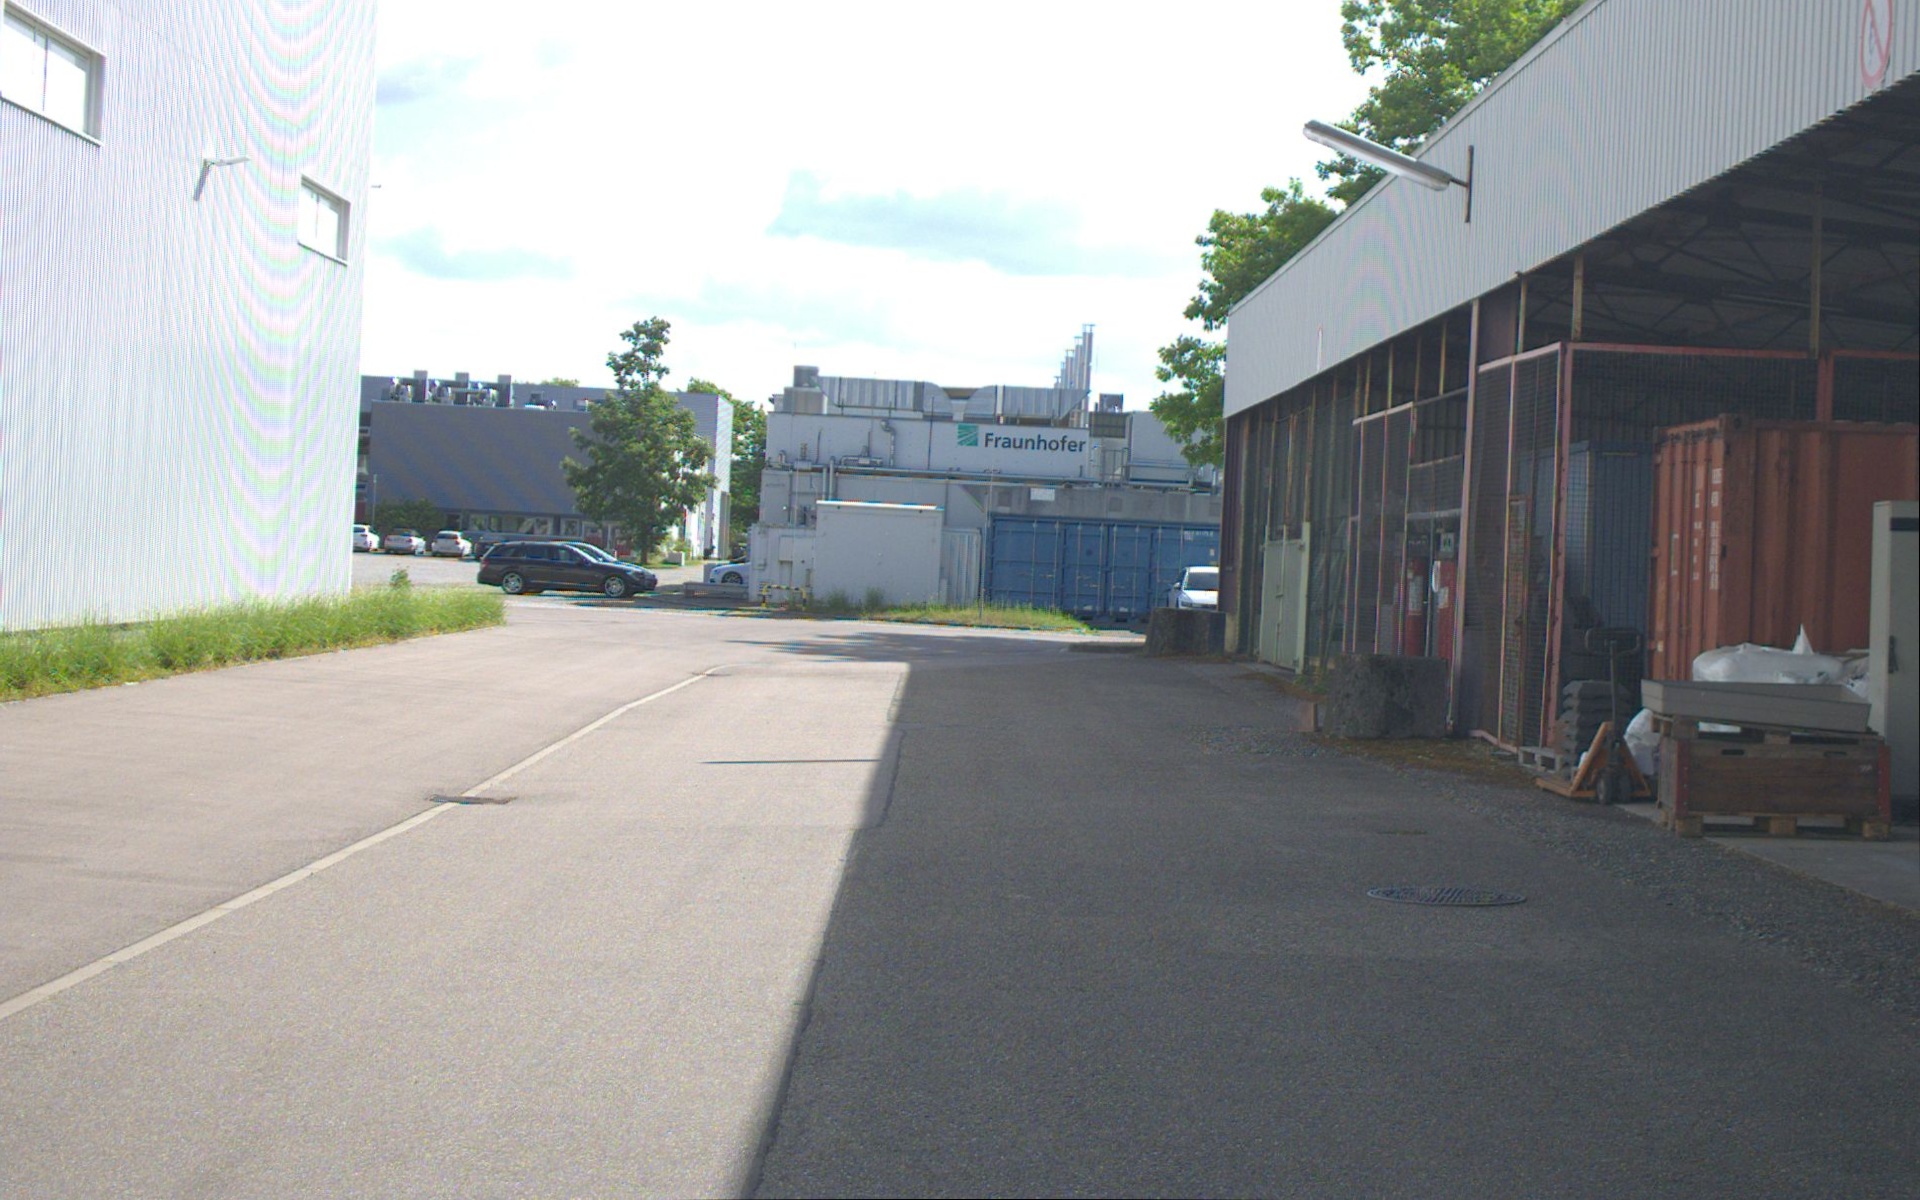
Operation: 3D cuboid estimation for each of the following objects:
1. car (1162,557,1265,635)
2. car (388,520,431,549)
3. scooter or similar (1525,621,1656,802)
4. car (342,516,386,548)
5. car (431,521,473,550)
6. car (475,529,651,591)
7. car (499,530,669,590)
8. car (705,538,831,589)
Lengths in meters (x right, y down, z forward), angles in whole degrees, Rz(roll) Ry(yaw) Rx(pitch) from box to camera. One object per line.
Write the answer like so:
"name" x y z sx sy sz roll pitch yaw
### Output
"car" 5.968 -0.115 81.519 1.981 1.588 4.341 3 2 -1
"car" -30.522 -3.634 190.755 1.877 1.532 4.036 1 0 -3
"scooter or similar" 4.181 0.721 22.878 0.520 1.130 1.592 2 0 -1
"car" -33.088 -3.769 190.895 1.877 1.684 4.036 1 0 -3
"car" -28.196 -3.584 190.987 1.877 1.532 4.036 1 0 -3
"car" -10.828 -1.084 94.042 4.529 1.438 1.987 3 -1 0
"car" -10.622 -1.118 97.302 4.529 1.438 1.904 3 -1 0
"car" -6.792 -1.292 121.806 4.279 1.564 1.987 3 -1 0
